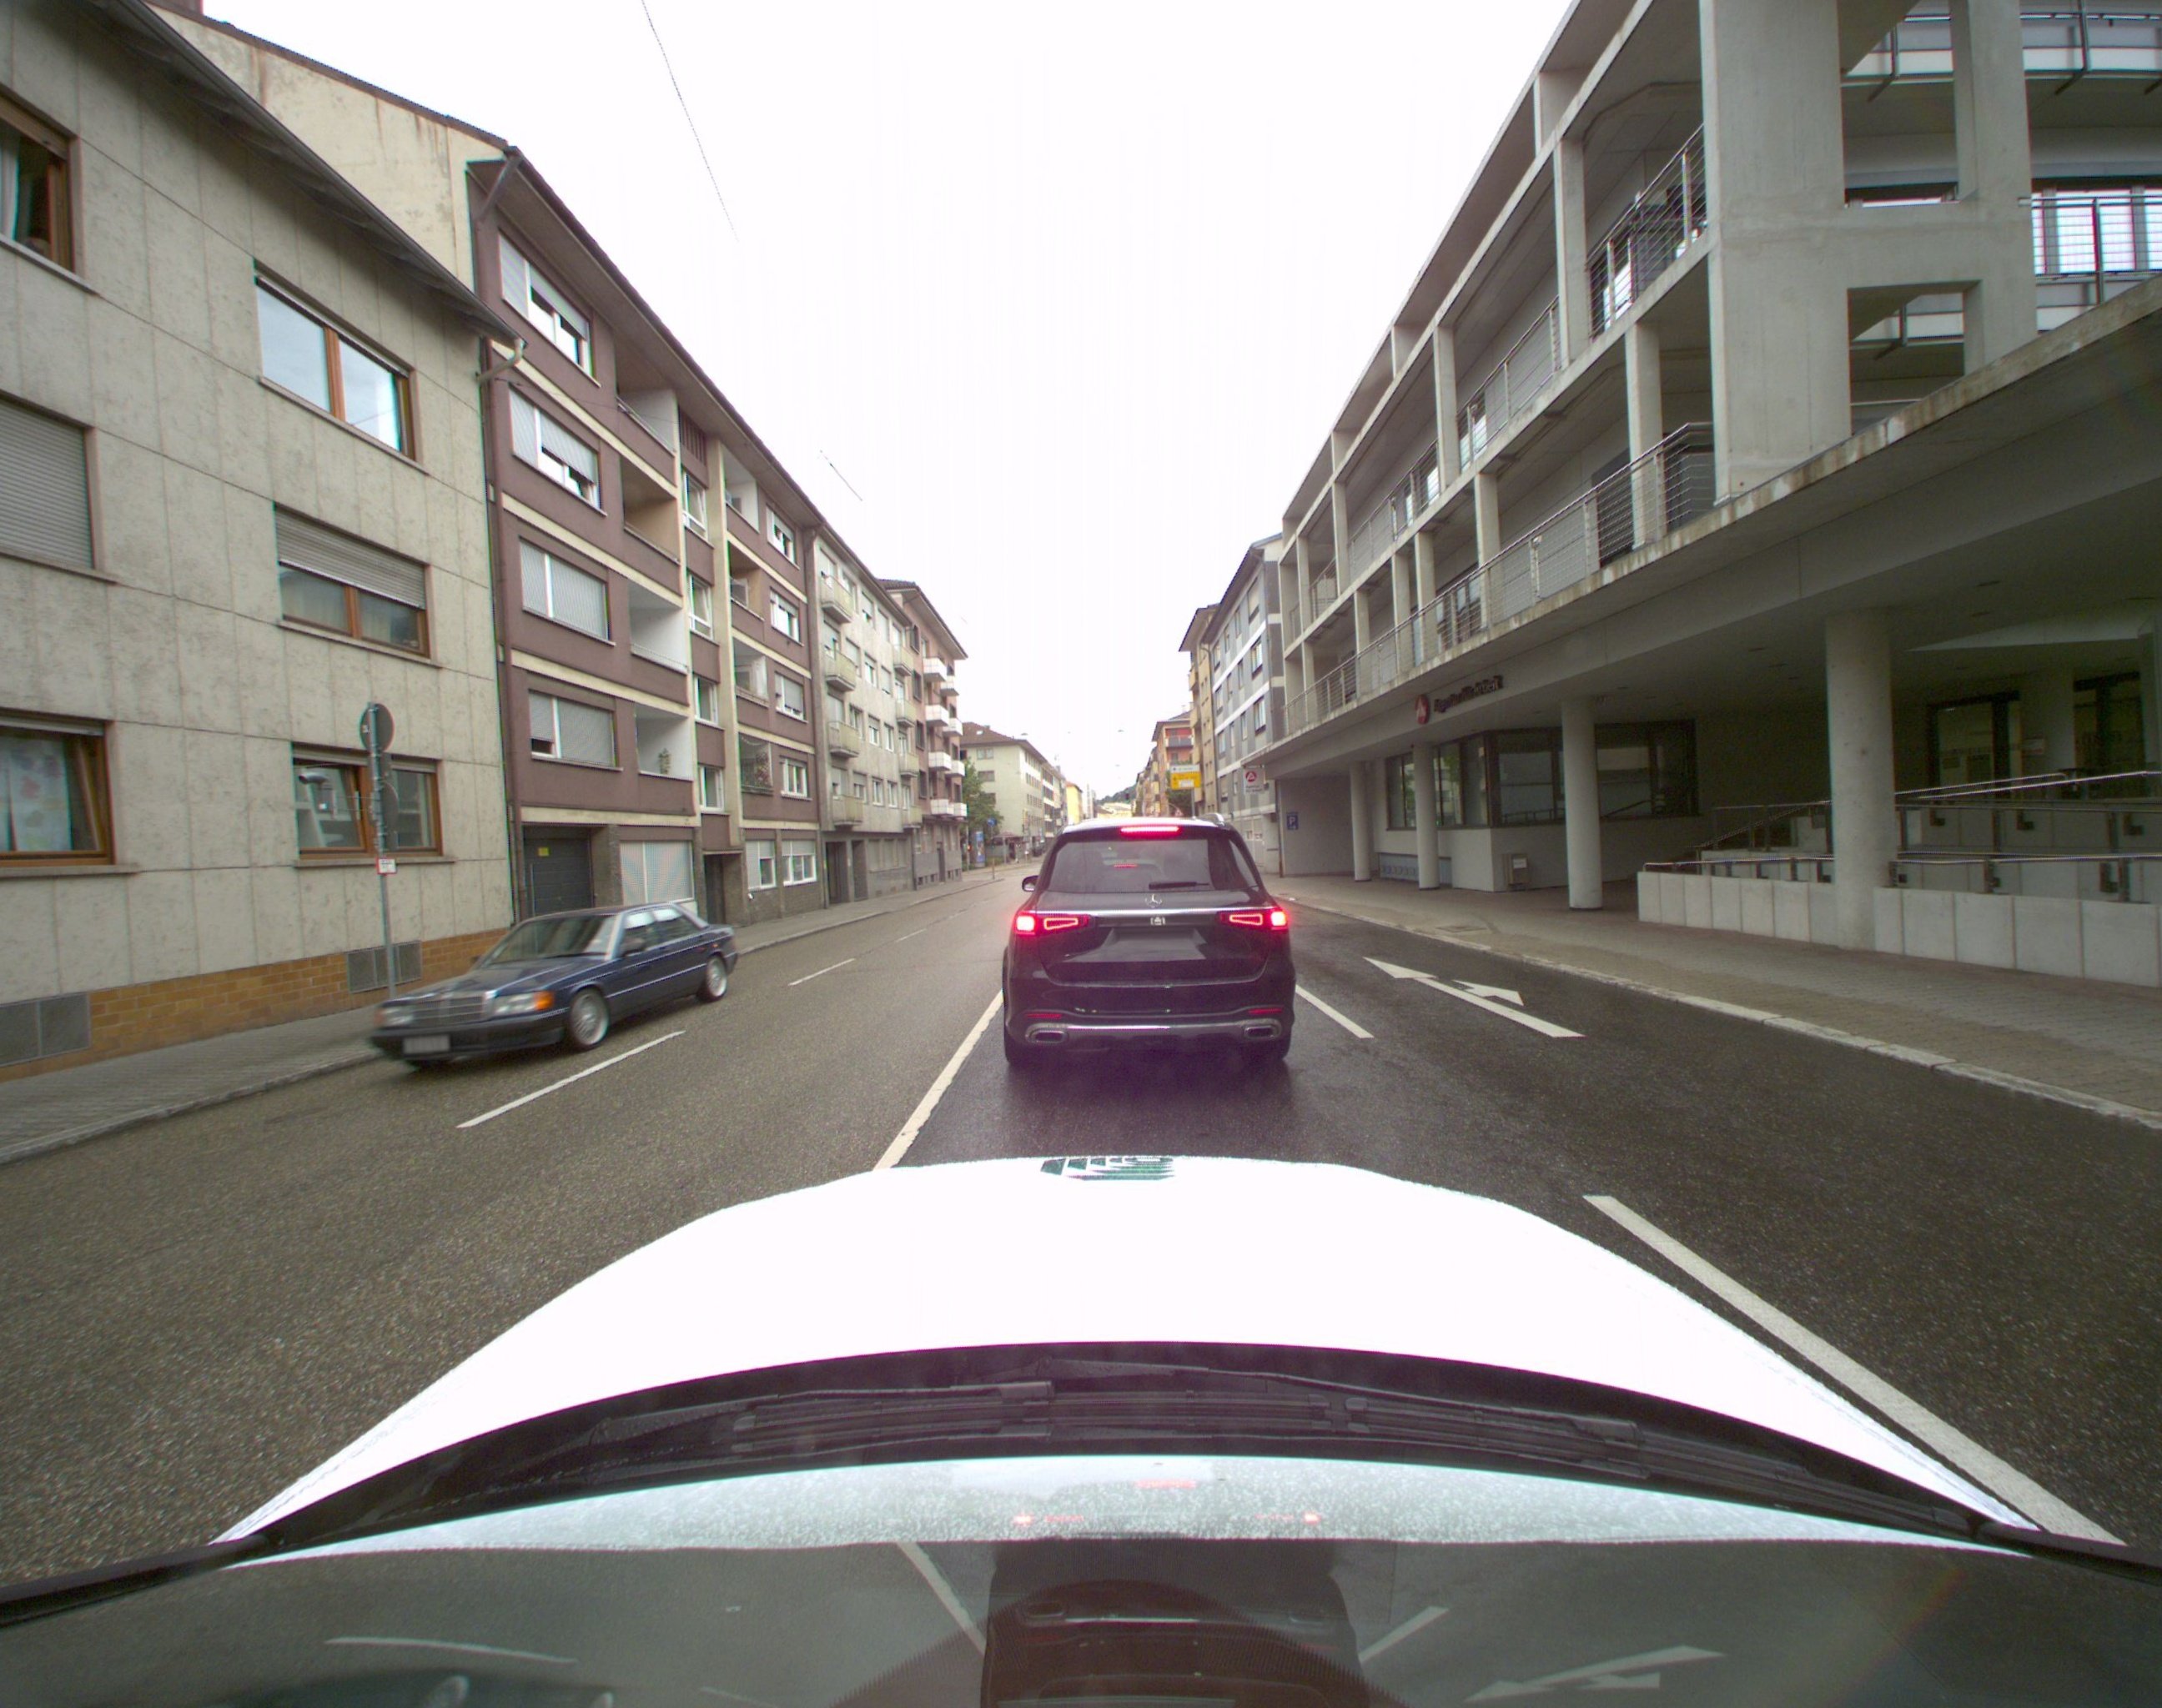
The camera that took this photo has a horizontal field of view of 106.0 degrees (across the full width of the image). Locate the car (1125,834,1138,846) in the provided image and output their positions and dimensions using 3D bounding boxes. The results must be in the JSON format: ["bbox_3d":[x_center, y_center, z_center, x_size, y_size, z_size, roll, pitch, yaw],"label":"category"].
[{"bbox_3d":[8.056,-2.225,130.925,1.718,1.759,4.217,-4,1,0],"label":"car"}]

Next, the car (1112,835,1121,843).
[{"bbox_3d":[7.875,-3.380,179.885,1.613,1.539,4.216,-4,-1,0],"label":"car"}]

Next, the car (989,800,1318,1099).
[{"bbox_3d":[0.505,0.597,7.135,1.977,1.805,4.391,0,-1,2],"label":"car"}]

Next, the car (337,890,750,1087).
[{"bbox_3d":[-5.506,1.250,9.177,1.593,1.370,4.362,-6,0,1],"label":"car"}]

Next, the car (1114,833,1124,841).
[{"bbox_3d":[7.811,-3.397,167.041,1.613,1.387,4.216,-4,-1,0],"label":"car"}]

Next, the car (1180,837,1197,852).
[{"bbox_3d":[12.477,-1.138,94.536,1.664,1.588,3.334,-3,0,4],"label":"car"}]

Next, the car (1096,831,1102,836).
[{"bbox_3d":[5.558,-6.315,250.518,1.613,1.539,4.216,-4,-1,0],"label":"car"}]

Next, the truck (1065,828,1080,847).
[{"bbox_3d":[-1.596,-3.142,157.370,2.472,3.046,9.917,-4,-1,0],"label":"truck"}]

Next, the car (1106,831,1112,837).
[{"bbox_3d":[8.967,-6.328,256.497,1.613,1.539,4.216,-4,-1,0],"label":"car"}]

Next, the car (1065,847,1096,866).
[{"bbox_3d":[-0.088,0.259,74.044,1.622,1.539,4.192,-4,-1,-17],"label":"car"}]

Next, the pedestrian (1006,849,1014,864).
[{"bbox_3d":[-8.917,0.313,102.260,0.920,1.902,0.706,-3,0,0],"label":"pedestrian"}]

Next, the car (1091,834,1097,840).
[{"bbox_3d":[3.472,-4.589,219.538,1.613,1.539,4.216,-4,-1,0],"label":"car"}]

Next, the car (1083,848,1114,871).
[{"bbox_3d":[1.364,0.420,62.430,1.805,1.539,4.227,-5,-1,8],"label":"car"}]

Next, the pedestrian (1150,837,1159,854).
[{"bbox_3d":[9.103,-1.019,101.036,0.920,2.013,0.706,-3,0,0],"label":"pedestrian"}]

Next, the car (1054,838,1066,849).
[{"bbox_3d":[-3.386,-1.685,131.946,1.613,1.539,4.216,-4,-1,0],"label":"car"}]

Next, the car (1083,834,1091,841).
[{"bbox_3d":[1.459,-3.909,193.969,1.613,1.539,4.216,-4,-1,0],"label":"car"}]

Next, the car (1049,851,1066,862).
[{"bbox_3d":[-2.914,0.336,101.763,1.879,1.264,4.216,-4,-1,0],"label":"car"}]

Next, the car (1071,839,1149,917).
[{"bbox_3d":[0.663,0.585,20.956,1.746,1.731,4.216,-2,-1,0],"label":"car"}]
